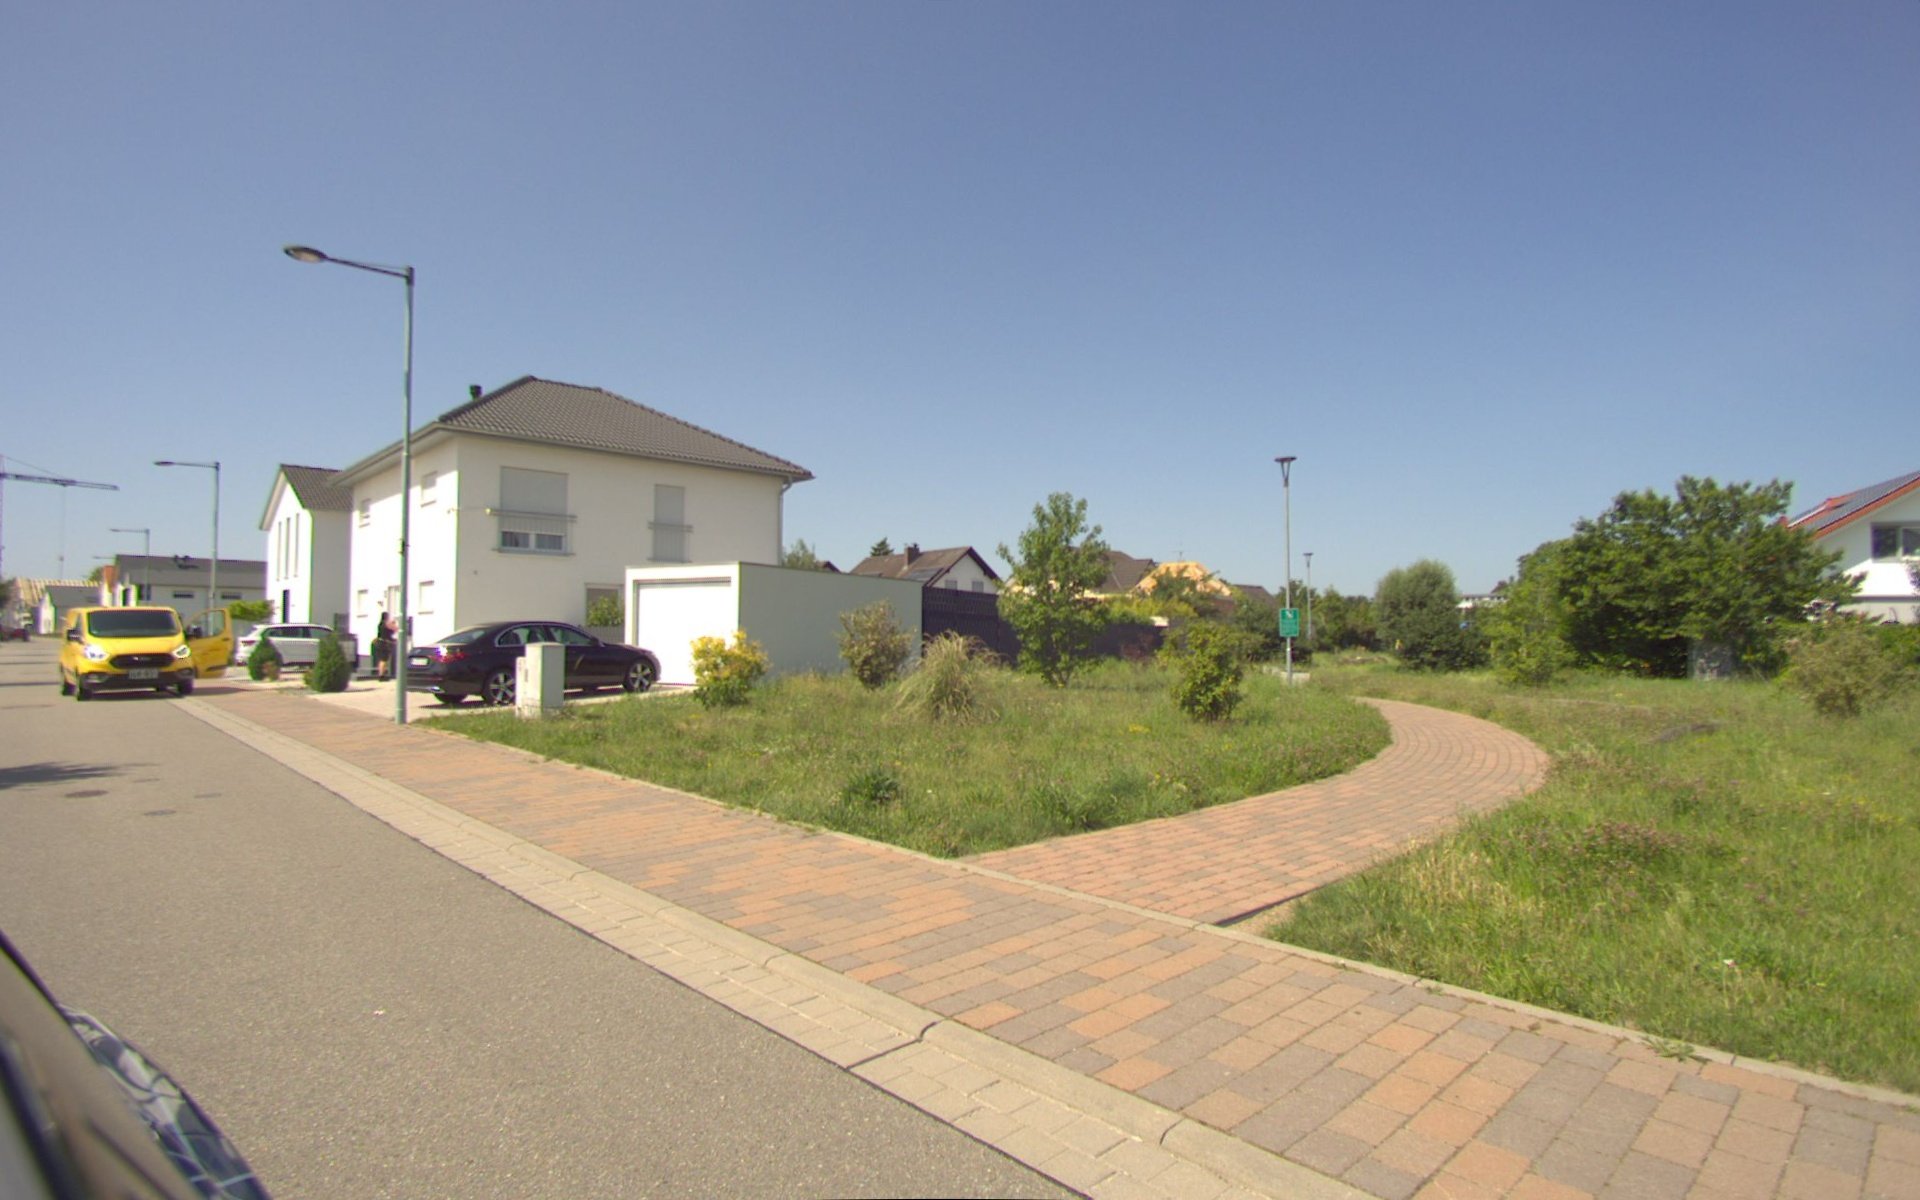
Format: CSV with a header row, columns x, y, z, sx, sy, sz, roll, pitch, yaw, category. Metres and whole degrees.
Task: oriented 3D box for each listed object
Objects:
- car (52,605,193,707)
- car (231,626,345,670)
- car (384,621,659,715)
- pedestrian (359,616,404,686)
x,y,z,sx,sy,sz,roll,pitch,yaw,category
-18.750,1.186,22.577,4.842,2.029,1.863,-2,-2,43,car
-29.661,2.106,44.713,3.938,1.866,2.002,2,-3,-42,car
-7.797,1.142,18.394,1.744,1.463,4.356,-2,-2,34,car
-14.478,1.258,25.315,0.917,1.698,0.538,-1,-1,-33,pedestrian
